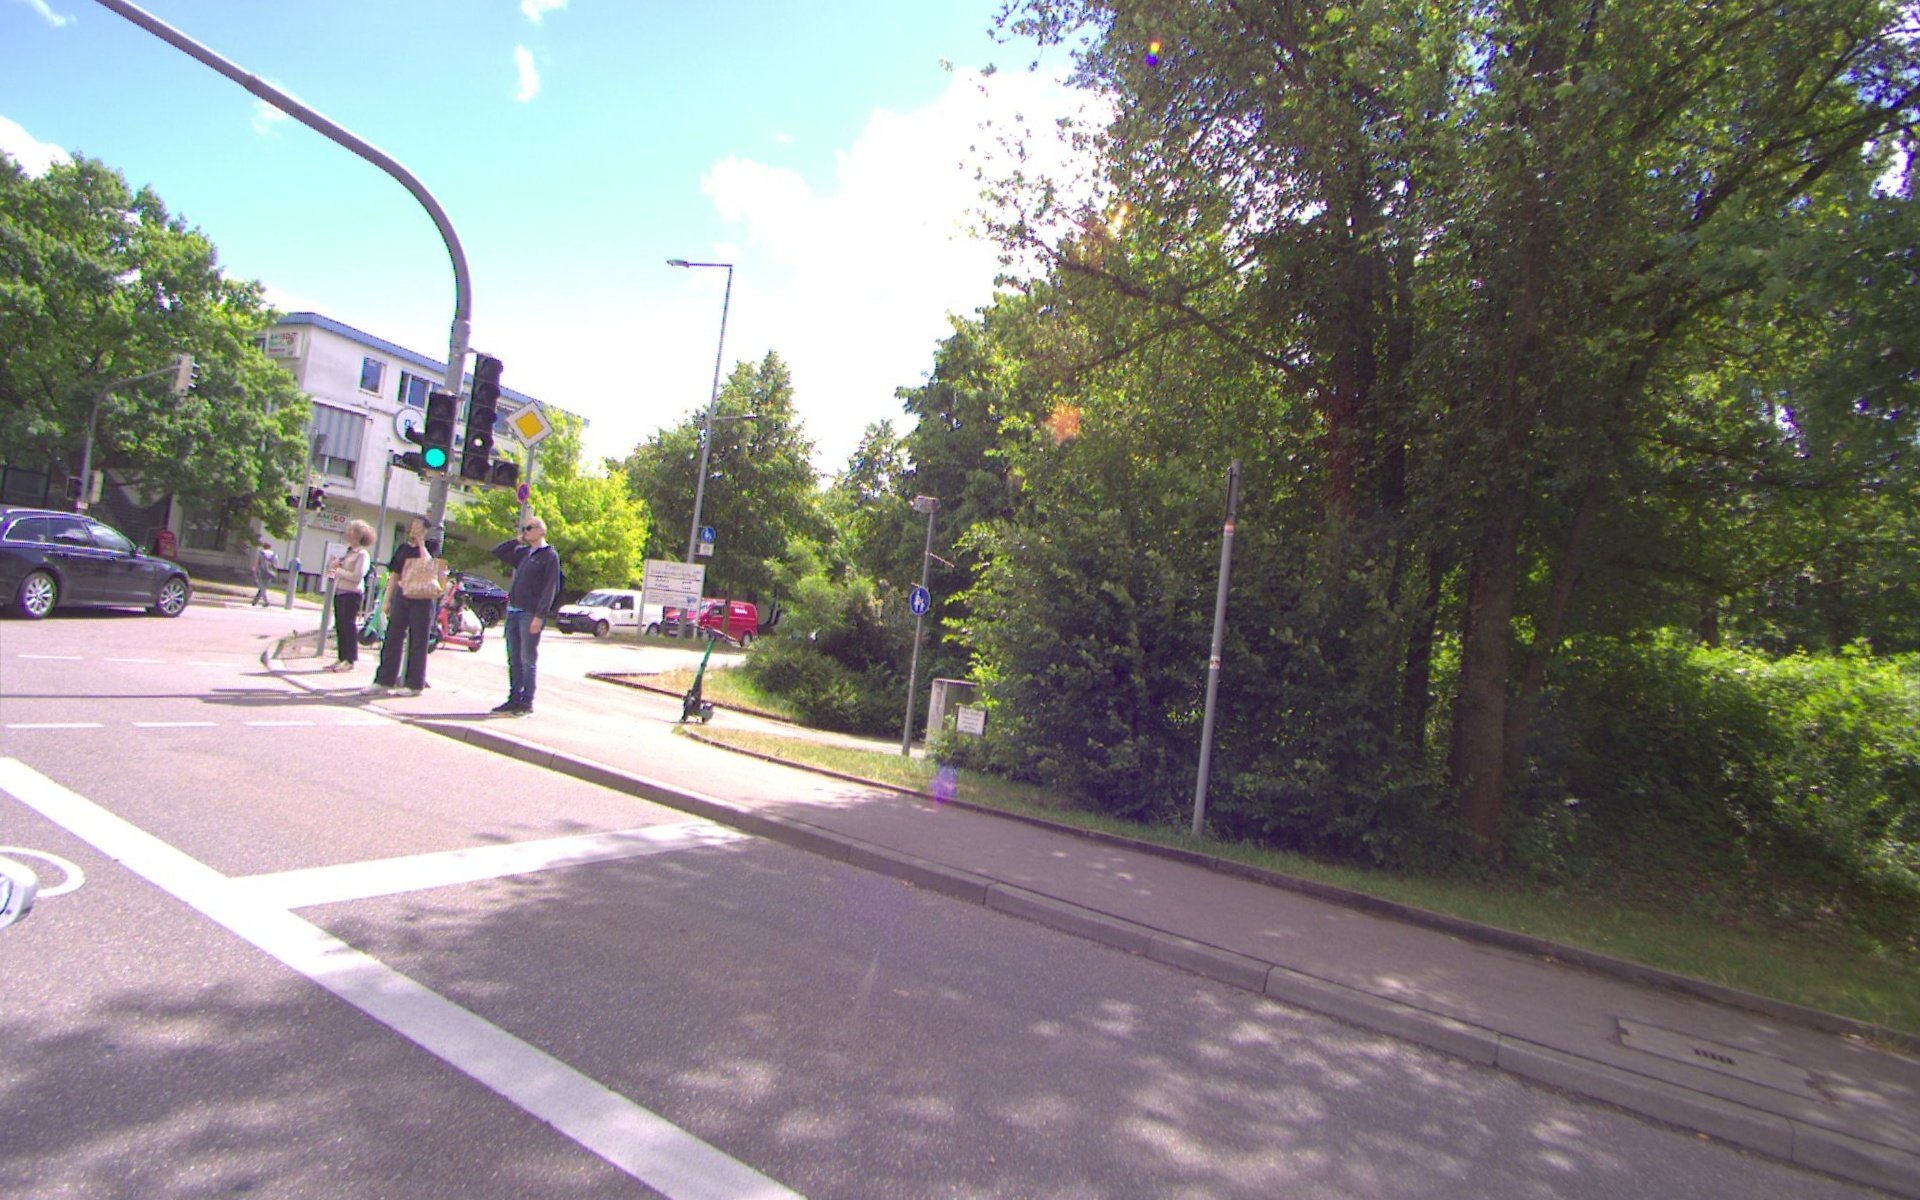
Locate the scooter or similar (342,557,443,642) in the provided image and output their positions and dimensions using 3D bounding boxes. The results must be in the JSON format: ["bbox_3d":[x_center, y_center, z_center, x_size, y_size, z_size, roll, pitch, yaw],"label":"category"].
[{"bbox_3d":[-8.970,0.011,15.966,0.533,1.168,1.362,9,-3,7],"label":"scooter or similar"}]

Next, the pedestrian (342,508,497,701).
[{"bbox_3d":[-5.448,0.059,10.182,0.758,1.787,0.936,7,0,20],"label":"pedestrian"}]

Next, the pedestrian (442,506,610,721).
[{"bbox_3d":[-4.310,0.154,10.031,0.881,1.964,0.968,7,-1,28],"label":"pedestrian"}]

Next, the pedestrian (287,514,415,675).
[{"bbox_3d":[-6.980,-0.057,11.527,0.950,1.694,0.860,7,0,-43],"label":"pedestrian"}]

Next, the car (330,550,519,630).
[{"bbox_3d":[-15.836,-0.243,30.035,1.964,1.737,4.574,7,-2,25],"label":"car"}]

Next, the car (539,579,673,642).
[{"bbox_3d":[-12.984,0.438,37.215,1.963,1.737,4.576,7,-2,23],"label":"car"}]

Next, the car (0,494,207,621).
[{"bbox_3d":[-13.121,-0.607,14.162,1.966,1.571,4.518,7,-2,-8],"label":"car"}]

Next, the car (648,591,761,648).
[{"bbox_3d":[-10.646,0.873,42.379,1.964,1.885,4.822,5,-3,23],"label":"car"}]

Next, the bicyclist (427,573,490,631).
[{"bbox_3d":[-10.069,0.042,20.220,0.625,1.034,0.794,7,-2,28],"label":"bicyclist"}]

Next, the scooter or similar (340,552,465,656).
[{"bbox_3d":[-7.908,0.072,14.302,0.455,1.292,1.344,8,-1,38],"label":"scooter or similar"}]

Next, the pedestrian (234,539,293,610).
[{"bbox_3d":[-18.022,-0.653,26.032,0.892,1.662,0.770,7,-2,32],"label":"pedestrian"}]

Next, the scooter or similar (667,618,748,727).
[{"bbox_3d":[-3.373,0.991,13.549,0.706,1.287,1.243,10,-7,-7],"label":"scooter or similar"}]

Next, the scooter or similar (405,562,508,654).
[{"bbox_3d":[-7.956,0.146,15.935,0.547,1.254,1.231,8,-3,23],"label":"scooter or similar"}]

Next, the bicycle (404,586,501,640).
[{"bbox_3d":[-10.244,0.252,20.295,1.776,0.828,0.794,7,-2,28],"label":"bicycle"}]
